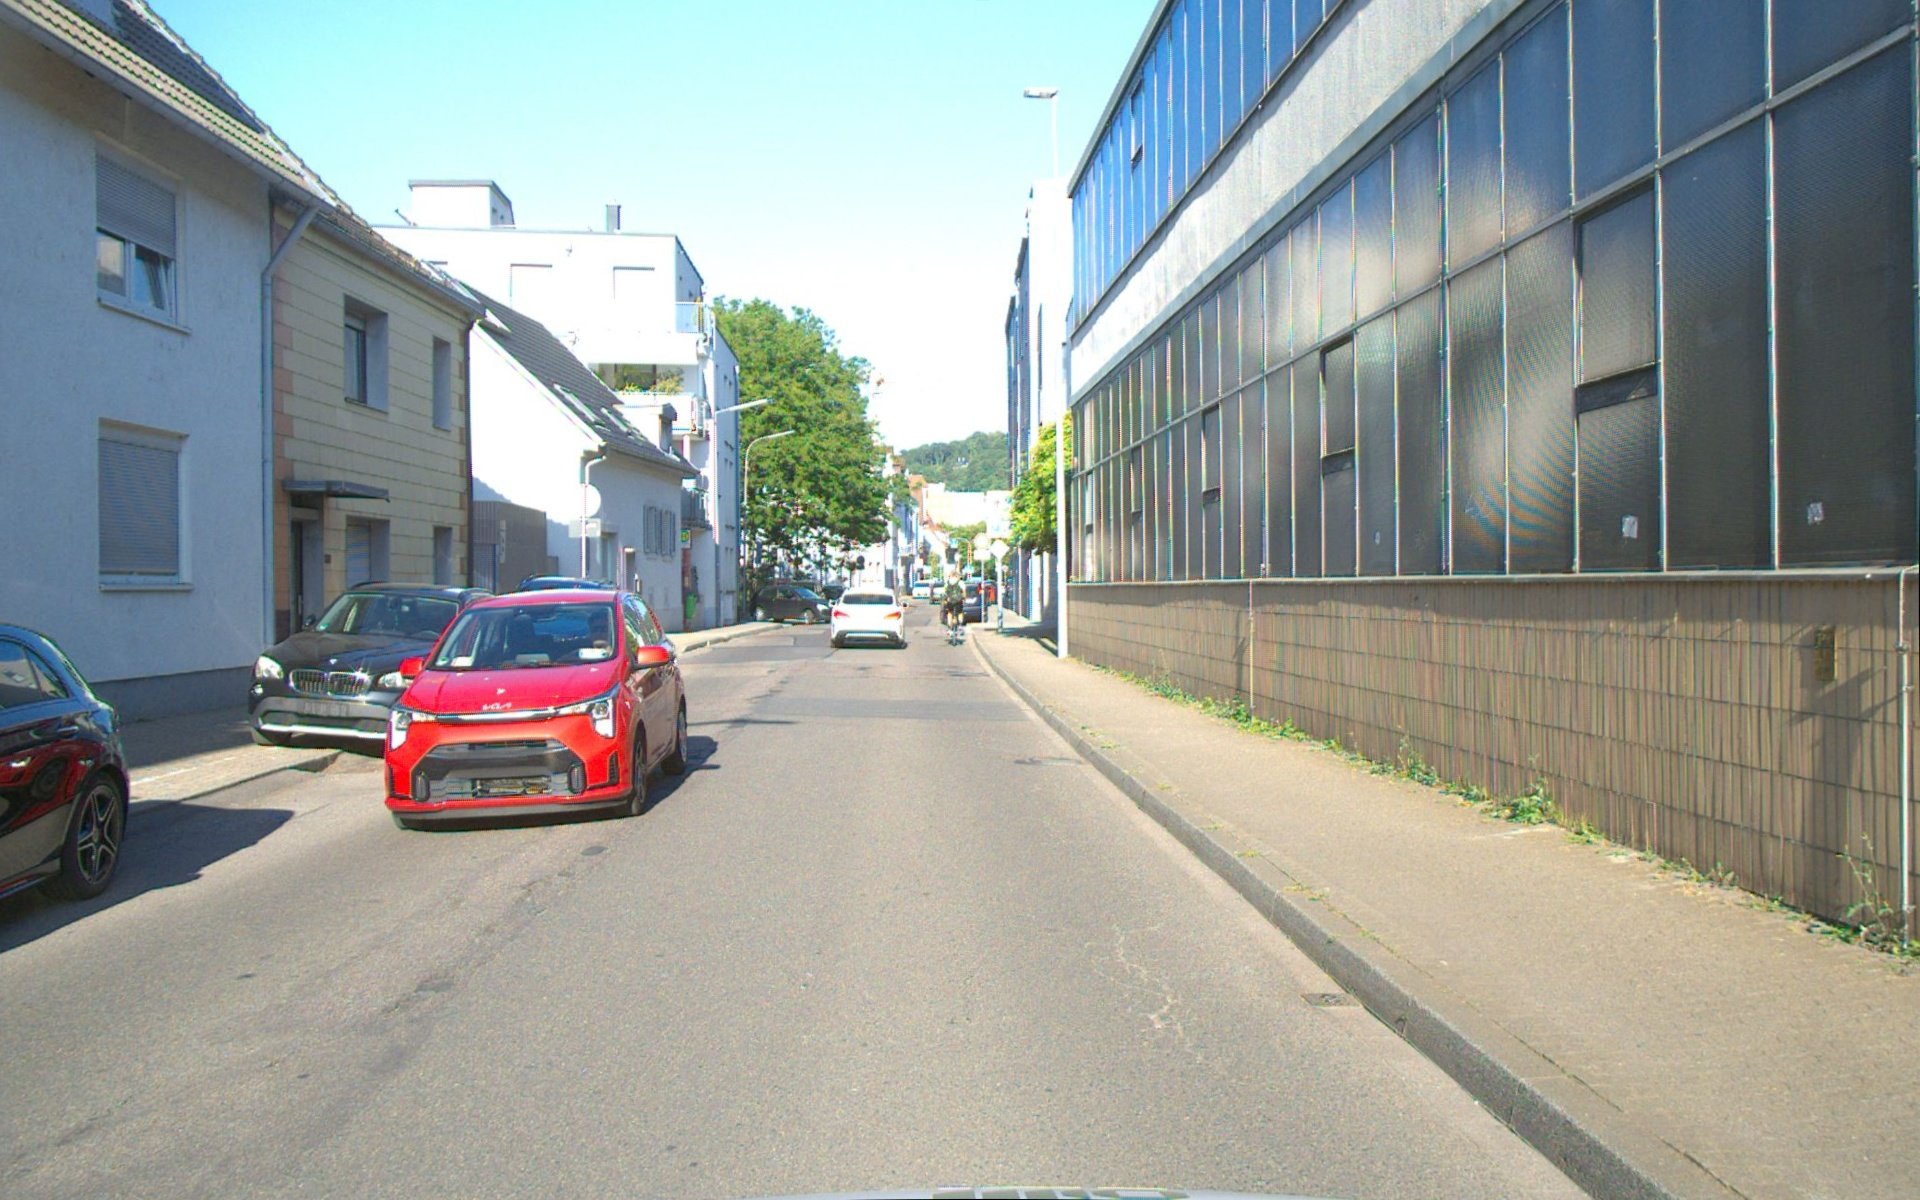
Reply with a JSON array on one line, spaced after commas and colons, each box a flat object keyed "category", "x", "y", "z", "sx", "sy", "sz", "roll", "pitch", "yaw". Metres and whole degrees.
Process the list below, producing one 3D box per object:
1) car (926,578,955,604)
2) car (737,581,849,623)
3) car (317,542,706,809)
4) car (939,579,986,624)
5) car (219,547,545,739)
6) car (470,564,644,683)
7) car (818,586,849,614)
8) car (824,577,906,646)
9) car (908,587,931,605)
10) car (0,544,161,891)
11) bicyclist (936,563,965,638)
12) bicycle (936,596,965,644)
[{"category": "car", "x": -1.459, "y": -0.632, "z": 121.122, "sx": 1.816, "sy": 1.823, "sz": 4.604, "roll": 2, "pitch": 0, "yaw": -4}, {"category": "car", "x": -6.700, "y": 0.080, "z": 66.330, "sx": 4.047, "sy": 1.517, "sz": 1.847, "roll": 2, "pitch": -1, "yaw": 23}, {"category": "car", "x": -2.995, "y": 0.432, "z": 11.977, "sx": 1.805, "sy": 1.517, "sz": 4.142, "roll": -2, "pitch": 1, "yaw": -3}, {"category": "car", "x": 0.081, "y": 0.057, "z": 63.615, "sx": 1.597, "sy": 1.615, "sz": 4.067, "roll": -2, "pitch": 0, "yaw": -2}, {"category": "car", "x": -5.683, "y": 0.357, "z": 16.877, "sx": 1.820, "sy": 1.614, "sz": 4.335, "roll": 3, "pitch": 1, "yaw": -1}, {"category": "car", "x": -6.219, "y": 0.290, "z": 25.961, "sx": 1.772, "sy": 1.614, "sz": 4.191, "roll": 3, "pitch": 1, "yaw": -2}, {"category": "car", "x": -7.560, "y": -0.021, "z": 99.278, "sx": 1.670, "sy": 1.603, "sz": 3.912, "roll": 2, "pitch": 0, "yaw": -2}, {"category": "car", "x": -2.270, "y": 0.269, "z": 39.846, "sx": 1.805, "sy": 1.517, "sz": 4.141, "roll": 2, "pitch": 0, "yaw": -3}, {"category": "car", "x": -3.785, "y": -0.343, "z": 155.119, "sx": 1.905, "sy": 1.615, "sz": 4.622, "roll": -2, "pitch": 0, "yaw": 1}, {"category": "car", "x": -5.069, "y": 0.489, "z": 6.899, "sx": 1.652, "sy": 1.562, "sz": 4.329, "roll": 3, "pitch": -1, "yaw": -6}, {"category": "bicyclist", "x": -0.240, "y": 0.016, "z": 41.618, "sx": 0.684, "sy": 1.821, "sz": 1.040, "roll": 2, "pitch": -1, "yaw": -1}, {"category": "bicycle", "x": -0.245, "y": 0.491, "z": 41.606, "sx": 0.684, "sy": 1.150, "sz": 2.402, "roll": 2, "pitch": -1, "yaw": -1}]
